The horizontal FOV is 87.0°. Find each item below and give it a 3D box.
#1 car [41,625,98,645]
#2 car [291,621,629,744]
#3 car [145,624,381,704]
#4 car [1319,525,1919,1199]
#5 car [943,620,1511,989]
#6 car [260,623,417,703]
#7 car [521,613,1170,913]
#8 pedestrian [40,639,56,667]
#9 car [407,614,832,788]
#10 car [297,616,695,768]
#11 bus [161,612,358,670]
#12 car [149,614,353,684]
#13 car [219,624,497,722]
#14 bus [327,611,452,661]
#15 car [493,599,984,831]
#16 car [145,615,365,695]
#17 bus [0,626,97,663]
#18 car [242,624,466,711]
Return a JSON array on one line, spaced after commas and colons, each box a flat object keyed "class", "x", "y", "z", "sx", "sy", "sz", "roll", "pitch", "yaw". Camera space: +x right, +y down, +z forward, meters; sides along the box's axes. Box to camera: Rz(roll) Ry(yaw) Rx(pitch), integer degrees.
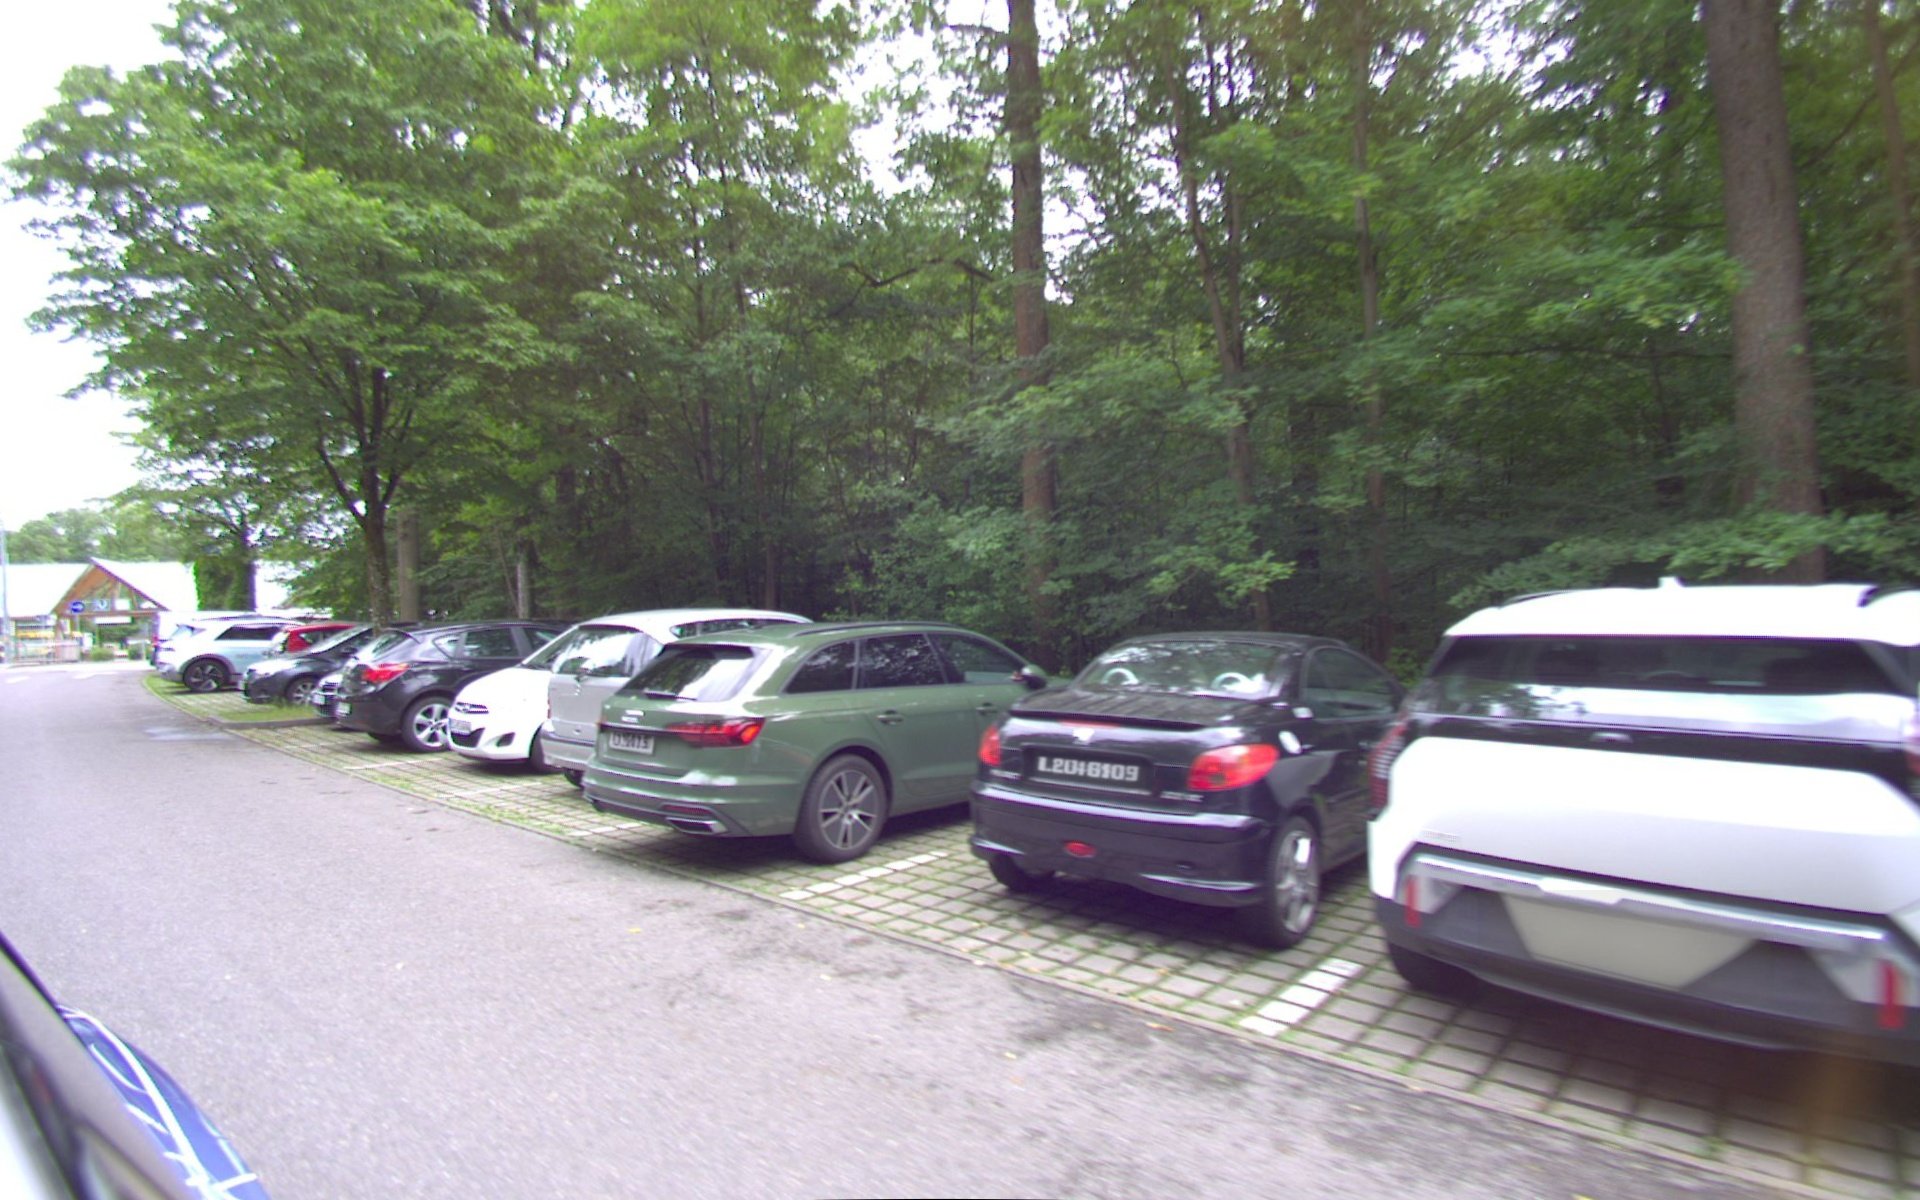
[{"class": "car", "x": -100.029, "y": 3.928, "z": 113.813, "sx": 1.970, "sy": 2.029, "sz": 5.442, "roll": -4, "pitch": -2, "yaw": -6}, {"class": "car", "x": -7.303, "y": 1.106, "z": 15.080, "sx": 1.721, "sy": 1.484, "sz": 4.185, "roll": -1, "pitch": 0, "yaw": 44}, {"class": "car", "x": -16.008, "y": 1.393, "z": 23.360, "sx": 4.301, "sy": 1.610, "sz": 2.034, "roll": 0, "pitch": -1, "yaw": -41}, {"class": "car", "x": 3.388, "y": 0.661, "z": 4.085, "sx": 3.912, "sy": 1.640, "sz": 2.001, "roll": 0, "pitch": -2, "yaw": -42}, {"class": "car", "x": 1.786, "y": 0.827, "z": 5.861, "sx": 1.728, "sy": 1.366, "sz": 3.751, "roll": -2, "pitch": -2, "yaw": 40}, {"class": "car", "x": -13.461, "y": 1.325, "z": 21.957, "sx": 2.629, "sy": 1.553, "sz": 1.446, "roll": -1, "pitch": -1, "yaw": -45}, {"class": "car", "x": -0.528, "y": 0.867, "z": 7.522, "sx": 2.094, "sy": 1.489, "sz": 4.590, "roll": -2, "pitch": -2, "yaw": 41}, {"class": "pedestrian", "x": -59.629, "y": 3.439, "z": 66.138, "sx": 0.668, "sy": 1.771, "sz": 0.647, "roll": -6, "pitch": -2, "yaw": 41}, {"class": "car", "x": -3.596, "y": 0.953, "z": 11.289, "sx": 1.762, "sy": 1.545, "sz": 4.189, "roll": -2, "pitch": -2, "yaw": 41}, {"class": "car", "x": -5.766, "y": 1.021, "z": 12.905, "sx": 4.184, "sy": 1.541, "sz": 2.007, "roll": 0, "pitch": -1, "yaw": -45}, {"class": "bus", "x": -43.077, "y": 2.435, "z": 62.846, "sx": 2.790, "sy": 3.183, "sz": 10.453, "roll": -4, "pitch": -2, "yaw": 18}, {"class": "car", "x": -21.741, "y": 1.443, "z": 31.216, "sx": 5.019, "sy": 1.930, "sz": 1.983, "roll": 0, "pitch": -2, "yaw": -37}, {"class": "car", "x": -10.555, "y": 1.216, "z": 17.929, "sx": 1.708, "sy": 1.502, "sz": 3.942, "roll": -3, "pitch": -2, "yaw": 44}, {"class": "bus", "x": -40.111, "y": 2.489, "z": 71.471, "sx": 2.790, "sy": 3.183, "sz": 7.707, "roll": -4, "pitch": -2, "yaw": 19}, {"class": "car", "x": -1.849, "y": 0.859, "z": 9.496, "sx": 1.968, "sy": 1.660, "sz": 4.190, "roll": -2, "pitch": -2, "yaw": 40}, {"class": "car", "x": -17.586, "y": 1.315, "z": 25.335, "sx": 4.369, "sy": 1.707, "sz": 2.175, "roll": -1, "pitch": -1, "yaw": -39}, {"class": "bus", "x": -98.590, "y": 4.644, "z": 105.655, "sx": 3.915, "sy": 3.509, "sz": 18.613, "roll": -4, "pitch": -2, "yaw": -10}, {"class": "car", "x": -11.945, "y": 1.275, "z": 20.053, "sx": 3.563, "sy": 1.485, "sz": 1.676, "roll": 0, "pitch": -2, "yaw": -42}]
